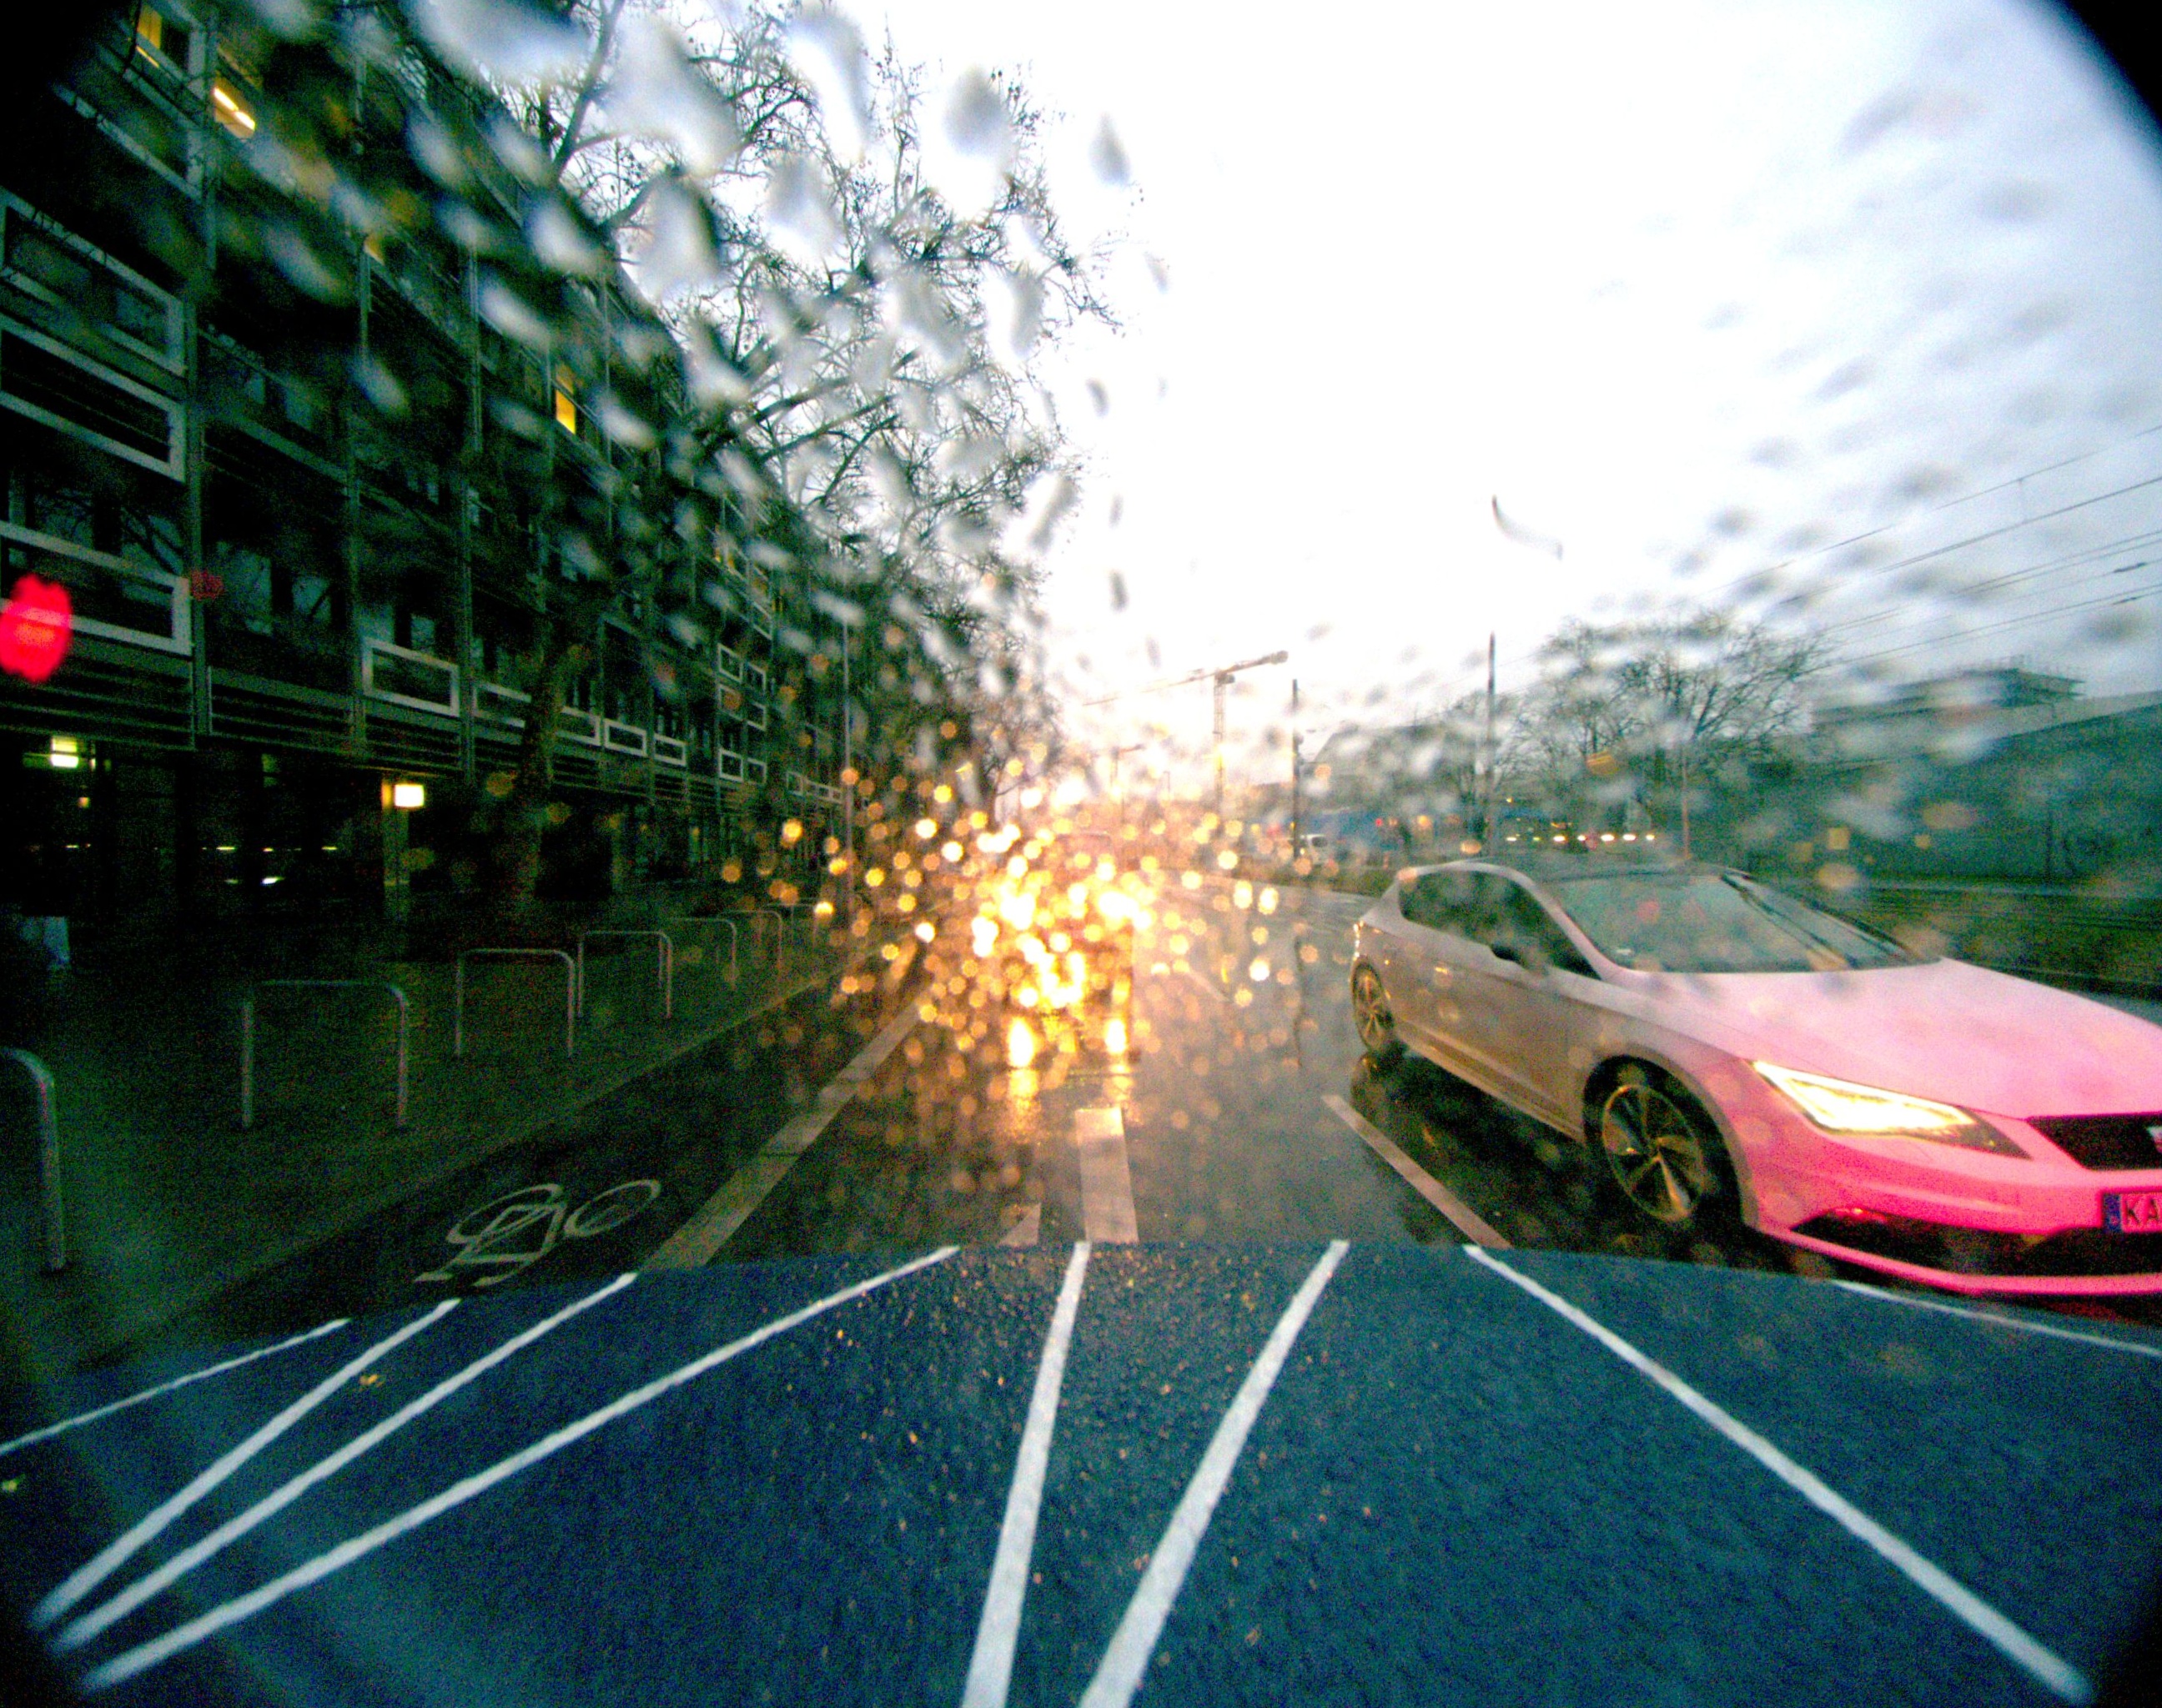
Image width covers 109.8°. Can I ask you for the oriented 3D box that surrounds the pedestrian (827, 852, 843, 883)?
[{"bbox_3d":[-13.448,0.725,41.507,0.641,1.645,0.842,-1,1,-5],"label":"pedestrian"}]

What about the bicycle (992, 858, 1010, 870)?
[{"bbox_3d":[-7.196,0.903,68.253,1.523,1.030,0.469,-2,2,-7],"label":"bicycle"}]

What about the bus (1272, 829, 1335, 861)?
[{"bbox_3d":[26.154,-1.049,90.068,2.815,3.557,12.298,-1,0,-6],"label":"bus"}]

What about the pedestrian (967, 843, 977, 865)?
[{"bbox_3d":[-10.434,-0.005,72.605,0.791,2.002,1.024,-1,1,0],"label":"pedestrian"}]

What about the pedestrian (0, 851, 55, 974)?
[{"bbox_3d":[-13.917,0.746,9.731,0.484,1.555,0.745,-1,1,-1],"label":"pedestrian"}]

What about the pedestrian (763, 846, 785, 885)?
[{"bbox_3d":[-13.245,0.489,32.773,0.617,1.647,0.780,-1,1,1],"label":"pedestrian"}]

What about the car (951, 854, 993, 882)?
[{"bbox_3d":[-6.168,0.780,43.372,1.608,1.424,3.930,2,1,2],"label":"car"}]

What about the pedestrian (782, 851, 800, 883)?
[{"bbox_3d":[-12.423,0.553,32.547,0.493,1.361,0.503,0,1,14],"label":"pedestrian"}]

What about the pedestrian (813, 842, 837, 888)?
[{"bbox_3d":[-11.394,0.496,33.858,0.822,2.002,0.735,-1,1,-2],"label":"pedestrian"}]

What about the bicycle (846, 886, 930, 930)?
[{"bbox_3d":[-4.450,1.245,17.603,1.792,0.968,0.617,1,1,-4],"label":"bicycle"}]

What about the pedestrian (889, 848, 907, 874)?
[{"bbox_3d":[-11.004,0.427,45.775,0.866,1.515,0.837,-1,1,-2],"label":"pedestrian"}]

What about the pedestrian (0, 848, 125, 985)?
[{"bbox_3d":[-12.944,0.758,9.632,0.501,1.658,0.873,0,1,1],"label":"pedestrian"}]

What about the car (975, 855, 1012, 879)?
[{"bbox_3d":[-5.860,0.845,51.203,1.998,1.477,4.000,-1,0,1],"label":"car"}]

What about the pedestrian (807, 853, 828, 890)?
[{"bbox_3d":[-10.979,0.729,31.651,0.649,1.535,0.615,0,1,1],"label":"pedestrian"}]

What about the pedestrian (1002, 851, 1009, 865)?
[{"bbox_3d":[-10.929,0.540,109.739,0.838,2.002,0.771,-2,2,-1],"label":"pedestrian"}]

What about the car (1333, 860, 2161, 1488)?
[{"bbox_3d":[2.971,0.818,3.987,1.778,1.466,4.128,-1,1,-2],"label":"car"}]

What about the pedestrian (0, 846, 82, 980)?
[{"bbox_3d":[-13.413,0.724,9.679,0.379,1.658,0.713,0,1,1],"label":"pedestrian"}]

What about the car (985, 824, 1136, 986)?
[{"bbox_3d":[-0.220,0.626,11.442,1.858,2.002,4.000,0,1,1],"label":"car"}]
